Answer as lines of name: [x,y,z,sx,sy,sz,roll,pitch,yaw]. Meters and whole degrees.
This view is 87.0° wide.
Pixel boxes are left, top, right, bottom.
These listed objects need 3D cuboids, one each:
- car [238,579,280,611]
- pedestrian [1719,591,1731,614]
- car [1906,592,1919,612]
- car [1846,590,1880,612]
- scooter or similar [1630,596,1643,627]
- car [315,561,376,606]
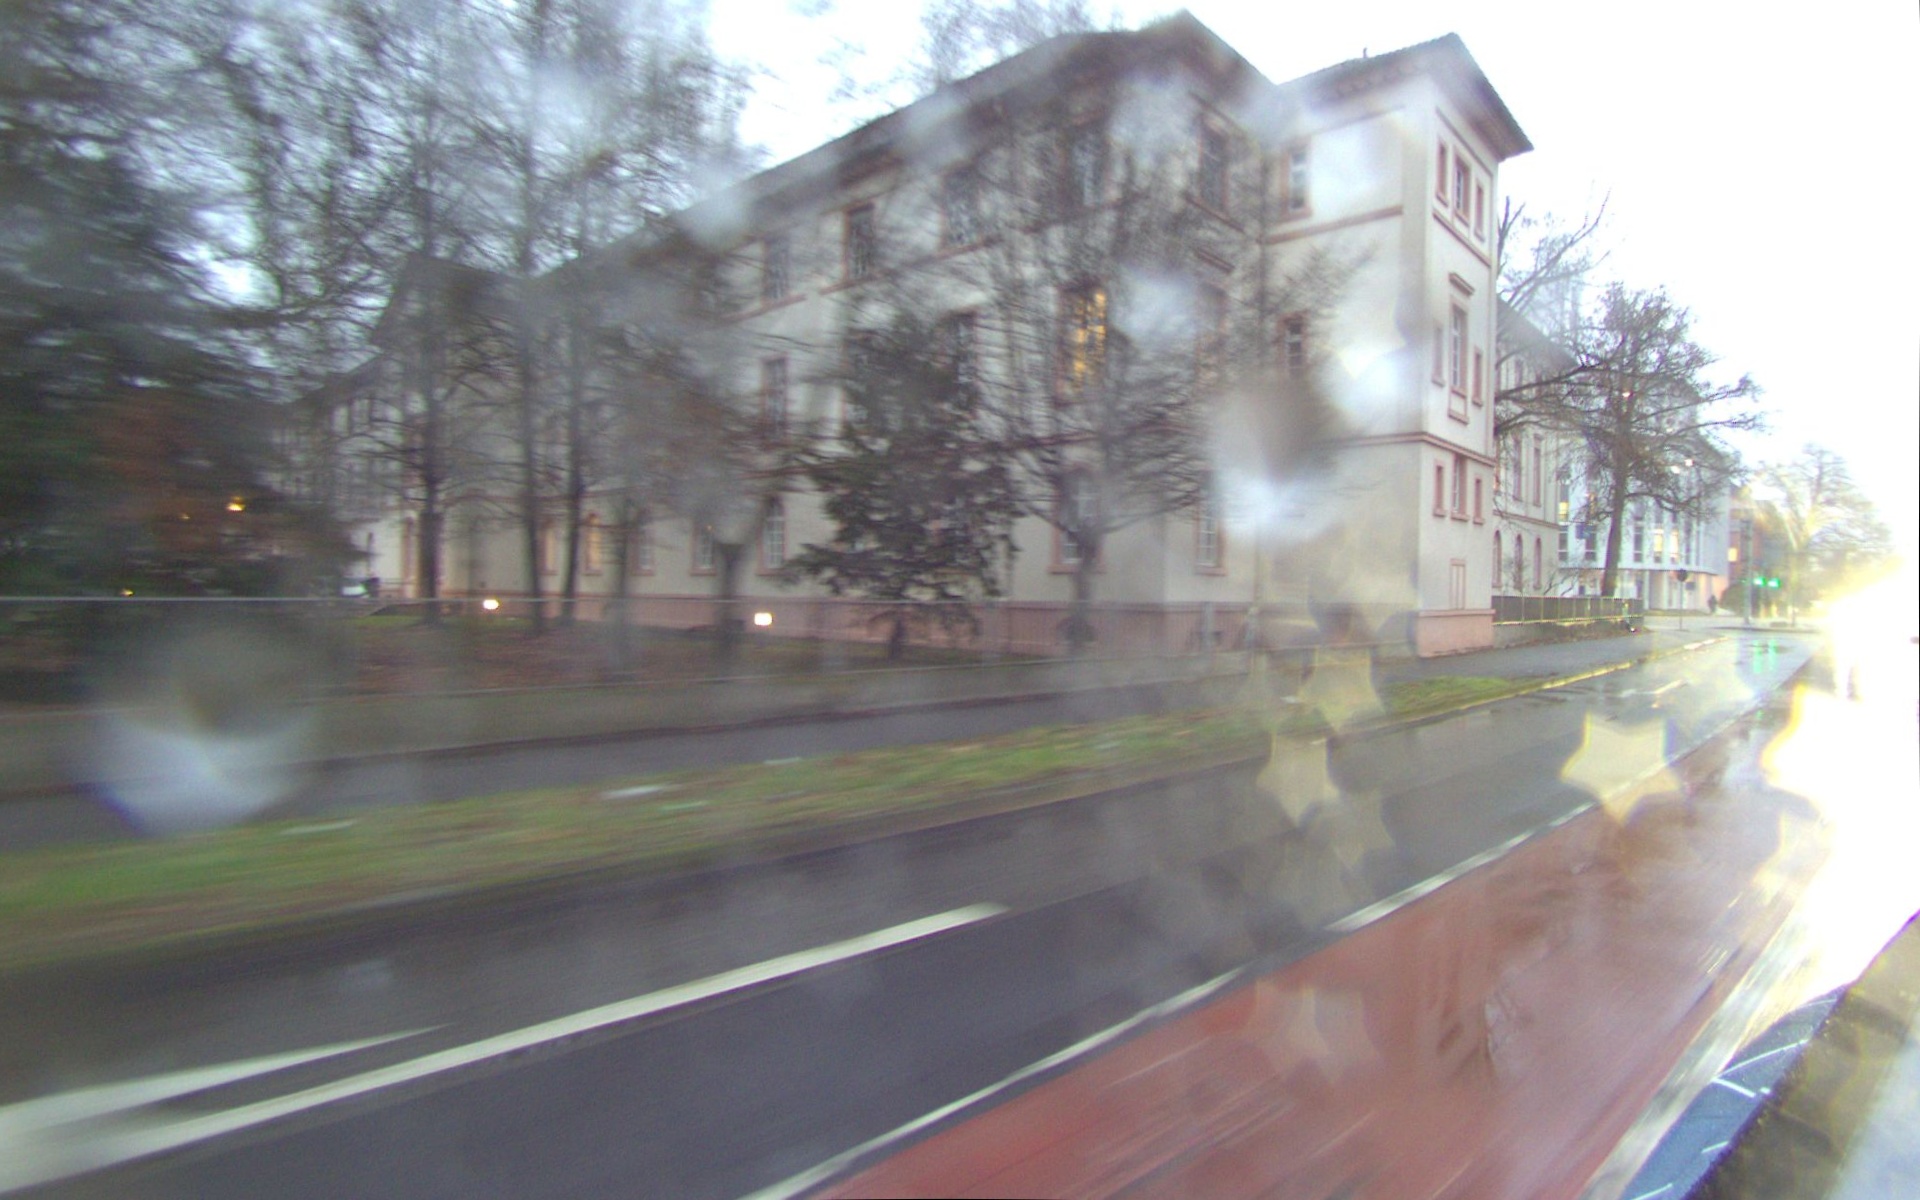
car: [-43.677,-0.315,62.991,1.830,1.943,4.093,0,0,-39]
pedestrian: [53.288,0.163,70.505,0.651,1.609,0.555,0,-1,34]
car: [75.578,0.168,79.337,1.992,1.554,3.939,0,0,42]
car: [73.136,0.068,82.005,1.992,1.717,3.939,0,0,42]
scooter or similar: [26.411,0.447,39.516,0.439,1.219,1.068,0,-1,33]
car: [-28.148,-0.731,46.275,1.830,1.943,4.093,0,0,-39]
